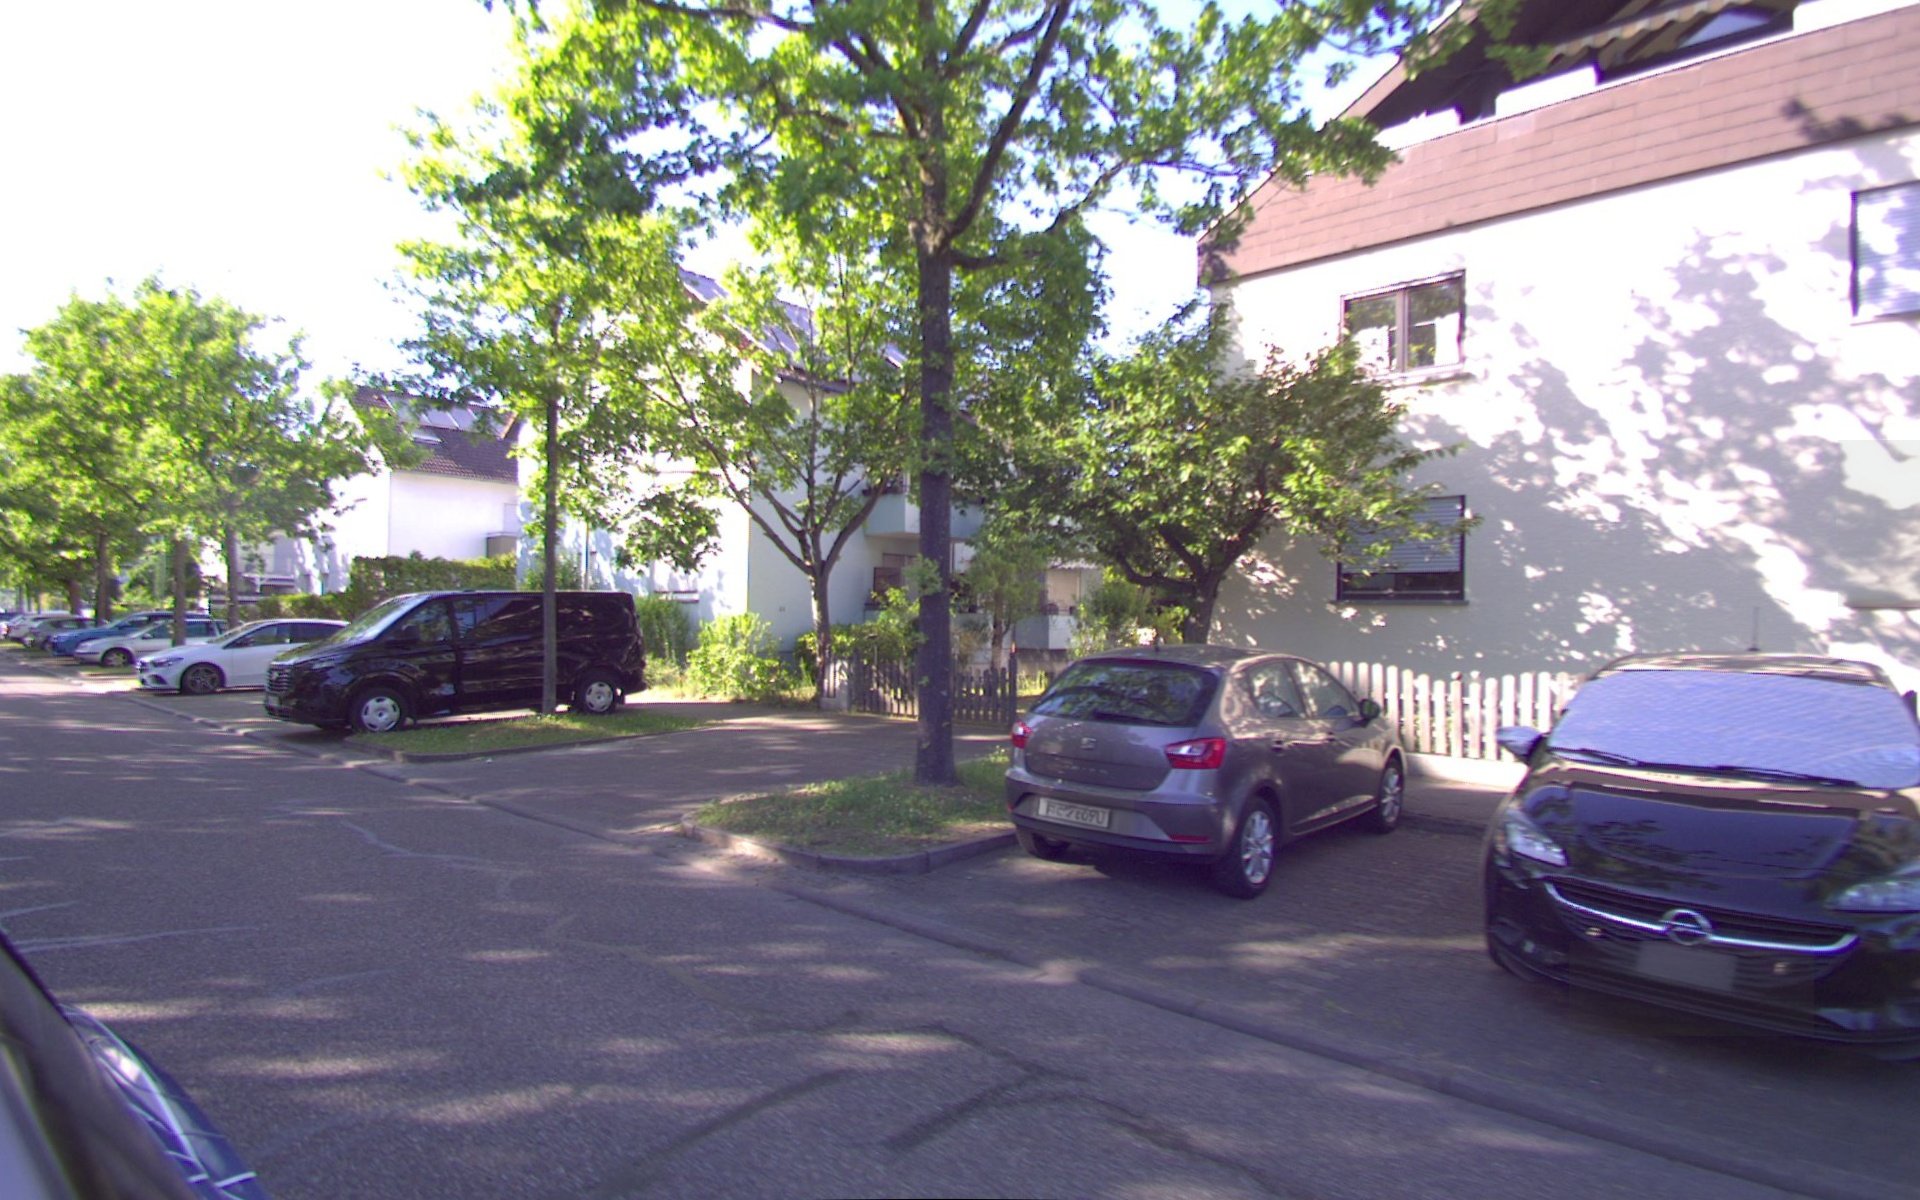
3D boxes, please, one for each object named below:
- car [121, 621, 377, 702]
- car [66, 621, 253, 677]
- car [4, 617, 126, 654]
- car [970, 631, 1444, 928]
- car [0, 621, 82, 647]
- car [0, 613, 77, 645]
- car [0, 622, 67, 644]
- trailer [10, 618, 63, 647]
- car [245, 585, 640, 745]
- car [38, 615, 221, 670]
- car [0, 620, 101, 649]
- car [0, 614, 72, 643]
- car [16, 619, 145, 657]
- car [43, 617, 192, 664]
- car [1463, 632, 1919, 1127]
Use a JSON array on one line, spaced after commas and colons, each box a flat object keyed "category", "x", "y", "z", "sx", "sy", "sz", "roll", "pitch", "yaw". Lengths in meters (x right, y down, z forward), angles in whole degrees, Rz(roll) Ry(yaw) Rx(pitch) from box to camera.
[{"category": "car", "x": -15.117, "y": 1.237, "z": 21.692, "sx": 1.769, "sy": 1.489, "sz": 4.229, "roll": -1, "pitch": -1, "yaw": 43}, {"category": "car", "x": -23.673, "y": 1.396, "z": 30.036, "sx": 1.647, "sy": 1.503, "sz": 4.137, "roll": -1, "pitch": -1, "yaw": 43}, {"category": "car", "x": -41.394, "y": 1.610, "z": 46.878, "sx": 1.793, "sy": 1.579, "sz": 4.139, "roll": -1, "pitch": -1, "yaw": 45}, {"category": "car", "x": 1.952, "y": 0.978, "z": 7.196, "sx": 1.771, "sy": 1.430, "sz": 3.779, "roll": -1, "pitch": -1, "yaw": 41}, {"category": "car", "x": -55.877, "y": 2.074, "z": 61.212, "sx": 1.690, "sy": 1.528, "sz": 3.945, "roll": -1, "pitch": -2, "yaw": 41}, {"category": "car", "x": -57.840, "y": 1.797, "z": 62.910, "sx": 1.999, "sy": 1.959, "sz": 4.191, "roll": -1, "pitch": -3, "yaw": 41}, {"category": "car", "x": -64.542, "y": 2.267, "z": 69.687, "sx": 1.836, "sy": 1.511, "sz": 4.428, "roll": -1, "pitch": -2, "yaw": 42}, {"category": "trailer", "x": -54.262, "y": 1.915, "z": 59.498, "sx": 2.208, "sy": 1.686, "sz": 1.476, "roll": 2, "pitch": -3, "yaw": -42}, {"category": "car", "x": -7.291, "y": 0.826, "z": 14.700, "sx": 2.017, "sy": 1.931, "sz": 4.729, "roll": -1, "pitch": -1, "yaw": 41}, {"category": "car", "x": -27.162, "y": 1.346, "z": 33.200, "sx": 1.938, "sy": 1.643, "sz": 4.473, "roll": -1, "pitch": -1, "yaw": 44}, {"category": "car", "x": -48.631, "y": 1.836, "z": 53.986, "sx": 4.161, "sy": 1.483, "sz": 1.692, "roll": 2, "pitch": -2, "yaw": -44}, {"category": "car", "x": -59.572, "y": 1.775, "z": 64.555, "sx": 1.967, "sy": 1.783, "sz": 4.194, "roll": -1, "pitch": -1, "yaw": 41}, {"category": "car", "x": -37.501, "y": 1.598, "z": 43.215, "sx": 1.810, "sy": 1.434, "sz": 3.991, "roll": -1, "pitch": 0, "yaw": 42}, {"category": "car", "x": -30.422, "y": 1.465, "z": 36.607, "sx": 1.858, "sy": 1.608, "sz": 3.942, "roll": -1, "pitch": -3, "yaw": 44}, {"category": "car", "x": 3.936, "y": 0.924, "z": 4.879, "sx": 1.713, "sy": 1.470, "sz": 3.815, "roll": -1, "pitch": -1, "yaw": 43}]
